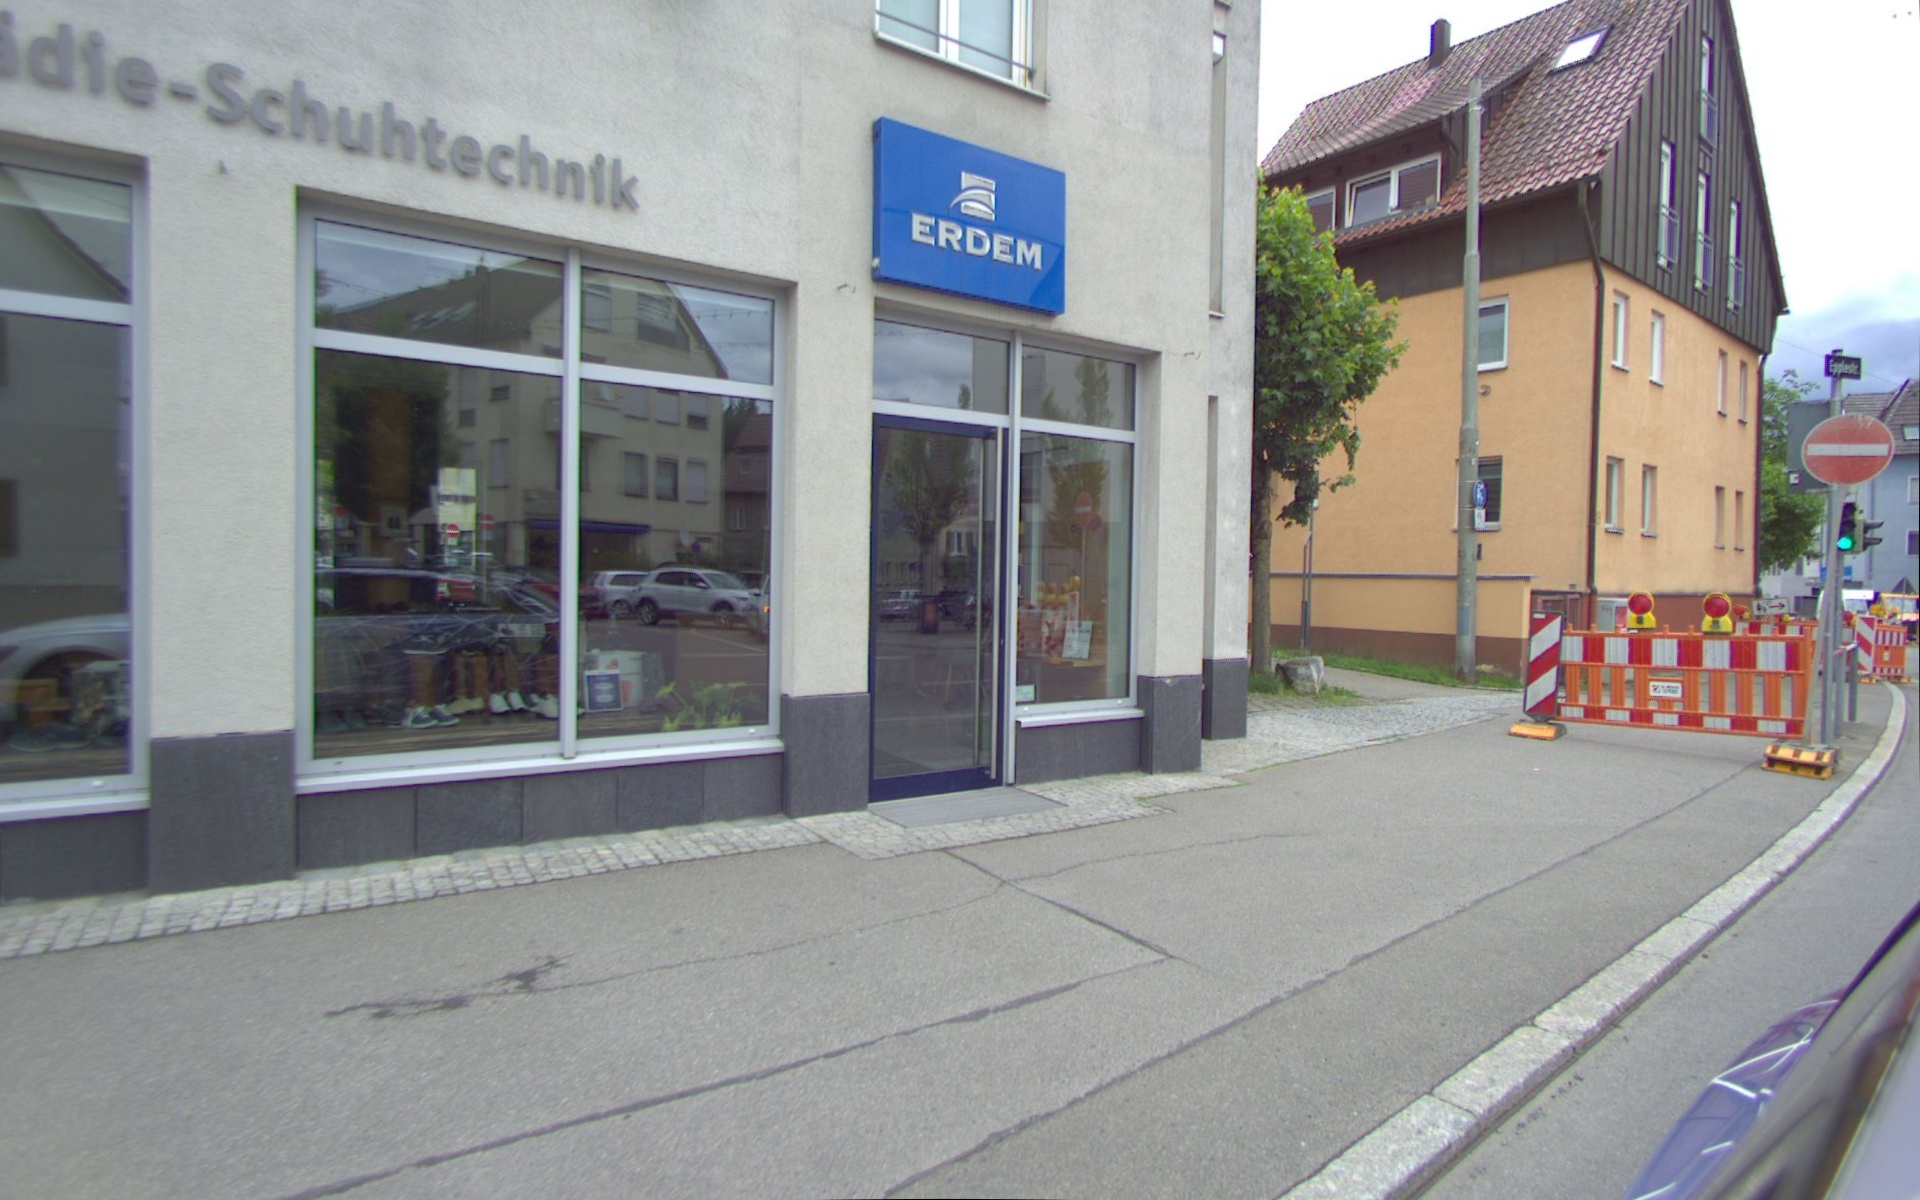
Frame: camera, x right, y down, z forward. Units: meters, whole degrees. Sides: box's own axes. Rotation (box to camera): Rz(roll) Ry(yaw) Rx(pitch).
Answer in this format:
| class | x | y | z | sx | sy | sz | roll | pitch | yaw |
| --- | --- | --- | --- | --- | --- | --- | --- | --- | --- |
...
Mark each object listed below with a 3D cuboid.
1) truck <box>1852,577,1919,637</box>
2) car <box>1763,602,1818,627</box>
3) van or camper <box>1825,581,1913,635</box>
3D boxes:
| class | x | y | z | sx | sy | sz | roll | pitch | yaw |
| --- | --- | --- | --- | --- | --- | --- | --- | --- | --- |
| truck | 42.669 | 0.347 | 45.565 | 2.401 | 2.496 | 6.241 | 3 | 1 | 29 |
| car | 52.820 | 0.912 | 64.426 | 1.786 | 1.429 | 3.963 | 3 | 1 | 26 |
| van or camper | 48.477 | 0.397 | 54.113 | 2.309 | 2.640 | 6.137 | 3 | 1 | 32 |
